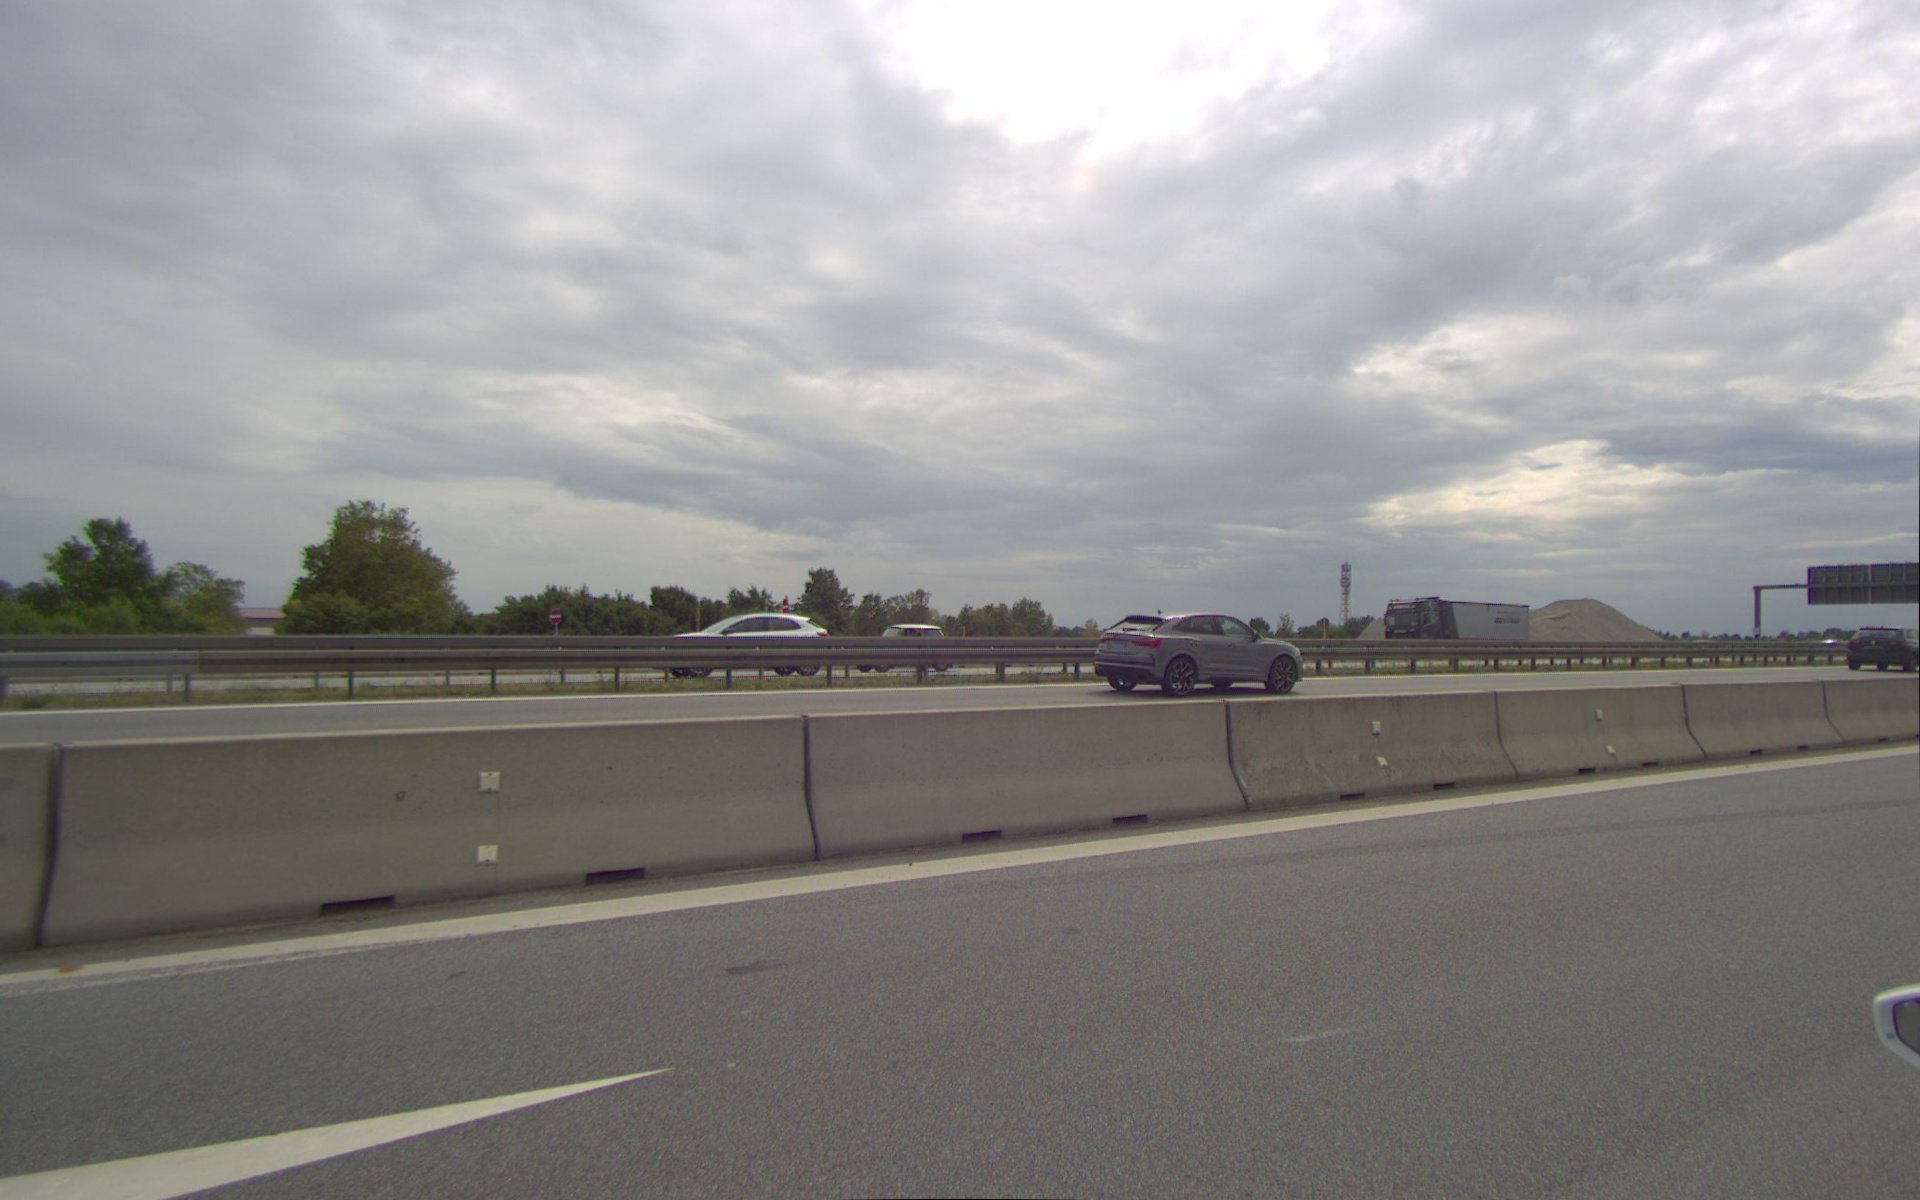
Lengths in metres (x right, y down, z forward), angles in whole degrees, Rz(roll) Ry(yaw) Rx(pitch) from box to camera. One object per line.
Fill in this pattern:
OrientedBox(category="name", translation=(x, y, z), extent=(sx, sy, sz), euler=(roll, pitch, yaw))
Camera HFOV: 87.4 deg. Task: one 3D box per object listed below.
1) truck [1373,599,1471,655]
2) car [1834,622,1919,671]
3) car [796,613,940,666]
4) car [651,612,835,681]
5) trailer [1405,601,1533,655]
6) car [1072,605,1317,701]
OrientedBox(category="truck", translation=(29.313, 1.686, 63.684), extent=(5.561, 3.374, 3.132), euler=(1, -1, -33))
OrientedBox(category="car", translation=(34.485, 1.702, 37.231), extent=(4.183, 1.660, 1.892), euler=(1, 0, -30))
OrientedBox(category="car", translation=(-2.736, 1.172, 29.994), extent=(3.959, 1.488, 1.678), euler=(1, -1, -32))
OrientedBox(category="car", translation=(-5.149, 1.085, 23.997), extent=(3.959, 1.488, 1.678), euler=(1, 0, -32))
OrientedBox(category="trailer", translation=(33.907, 1.854, 66.698), extent=(9.719, 3.313, 3.179), euler=(1, -1, -33))
OrientedBox(category="car", translation=(4.614, 0.978, 19.560), extent=(4.589, 1.662, 1.892), euler=(1, 0, -30))
